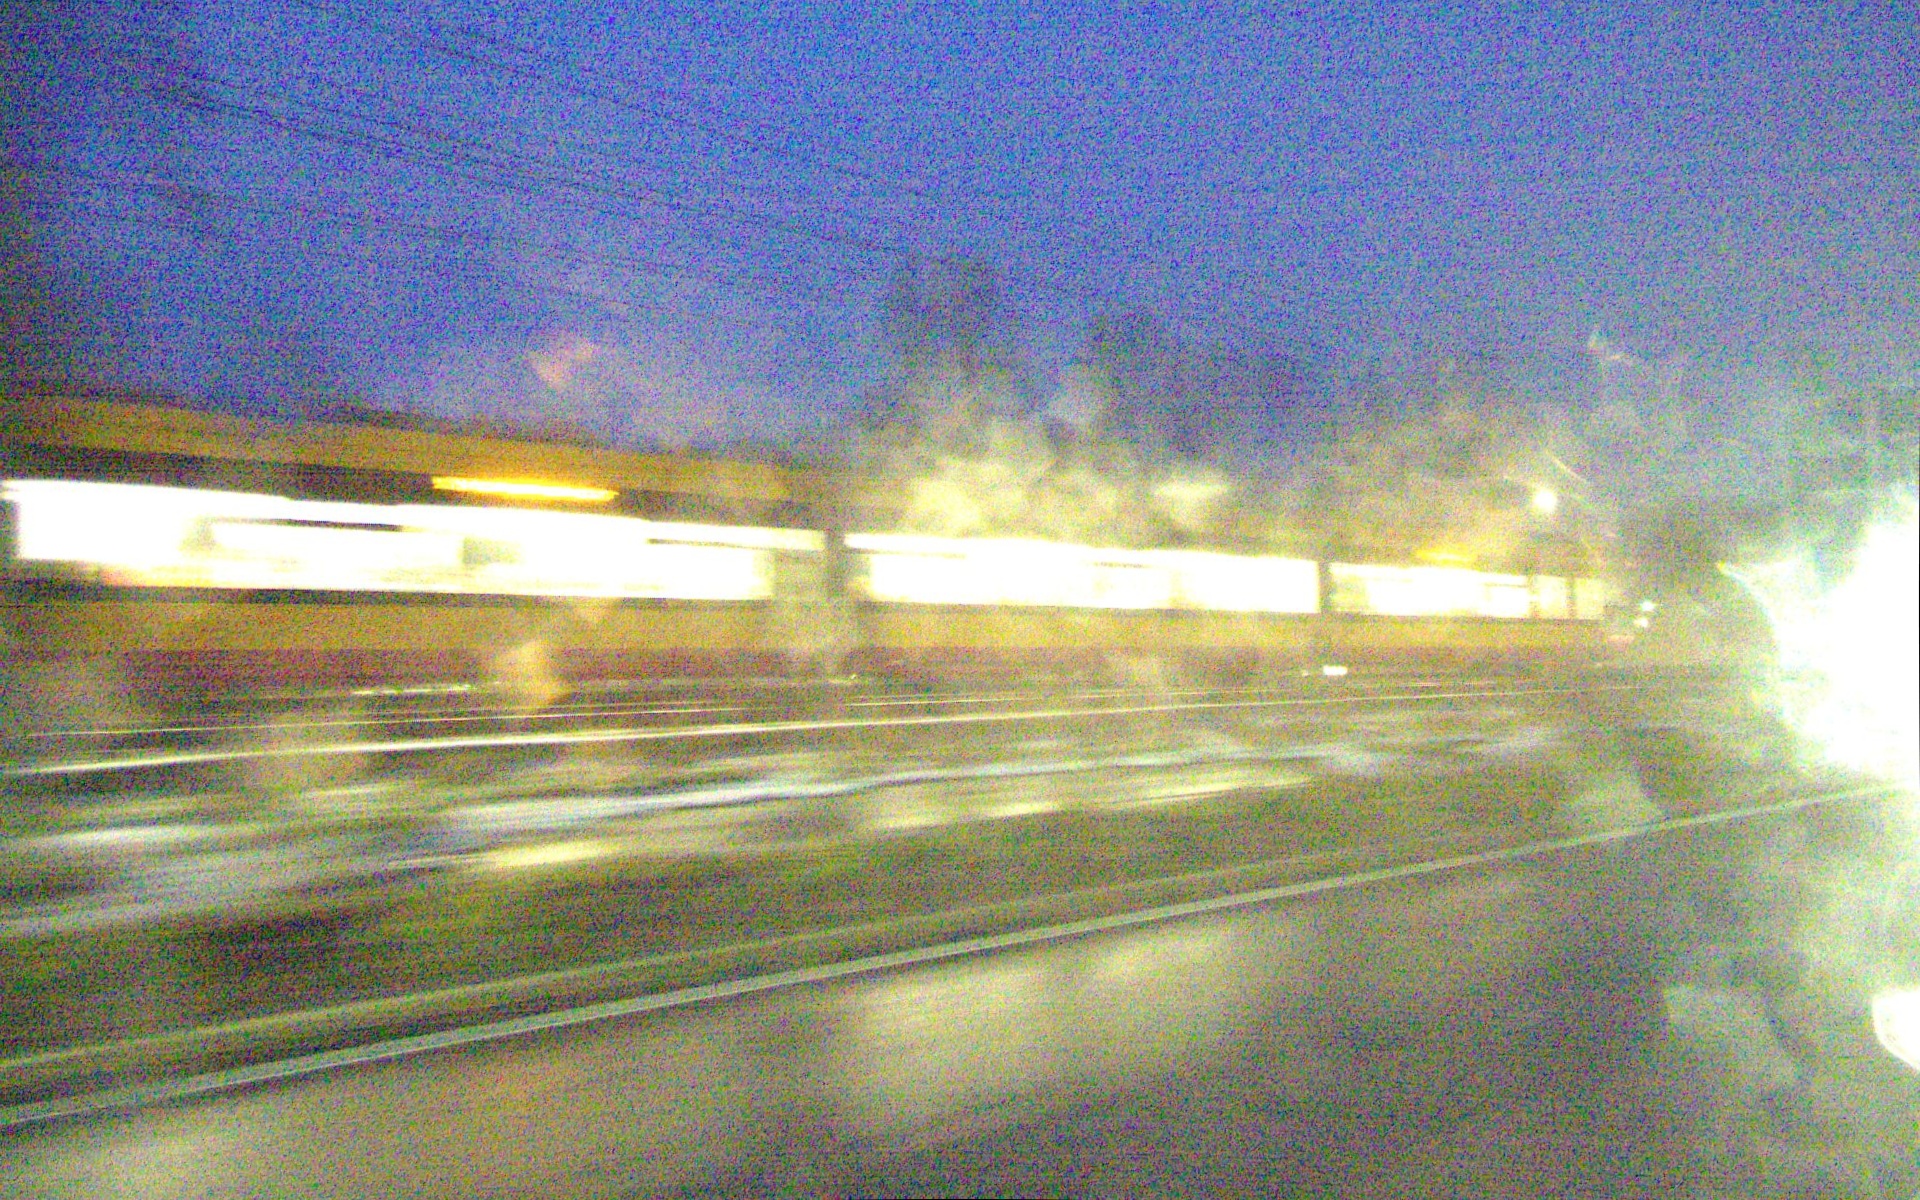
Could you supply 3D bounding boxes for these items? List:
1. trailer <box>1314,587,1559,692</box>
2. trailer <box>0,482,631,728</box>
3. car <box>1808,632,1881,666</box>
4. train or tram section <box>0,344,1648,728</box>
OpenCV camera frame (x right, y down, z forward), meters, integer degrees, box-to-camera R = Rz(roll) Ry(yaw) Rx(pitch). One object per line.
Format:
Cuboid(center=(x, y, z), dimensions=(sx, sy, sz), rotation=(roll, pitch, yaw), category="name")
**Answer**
Cuboid(center=(24.122, 1.967, 50.339), dimensions=(14.086, 4.671, 3.950), rotation=(2, 0, -31), category="trailer")
Cuboid(center=(-16.266, 0.252, 25.222), dimensions=(14.667, 5.079, 3.950), rotation=(2, 0, -31), category="trailer")
Cuboid(center=(46.915, 2.561, 53.273), dimensions=(4.172, 1.716, 1.777), rotation=(1, -1, -32), category="car")
Cuboid(center=(2.018, -0.194, 18.686), dimensions=(36.718, 3.865, 2.683), rotation=(2, 0, -31), category="train or tram section")
